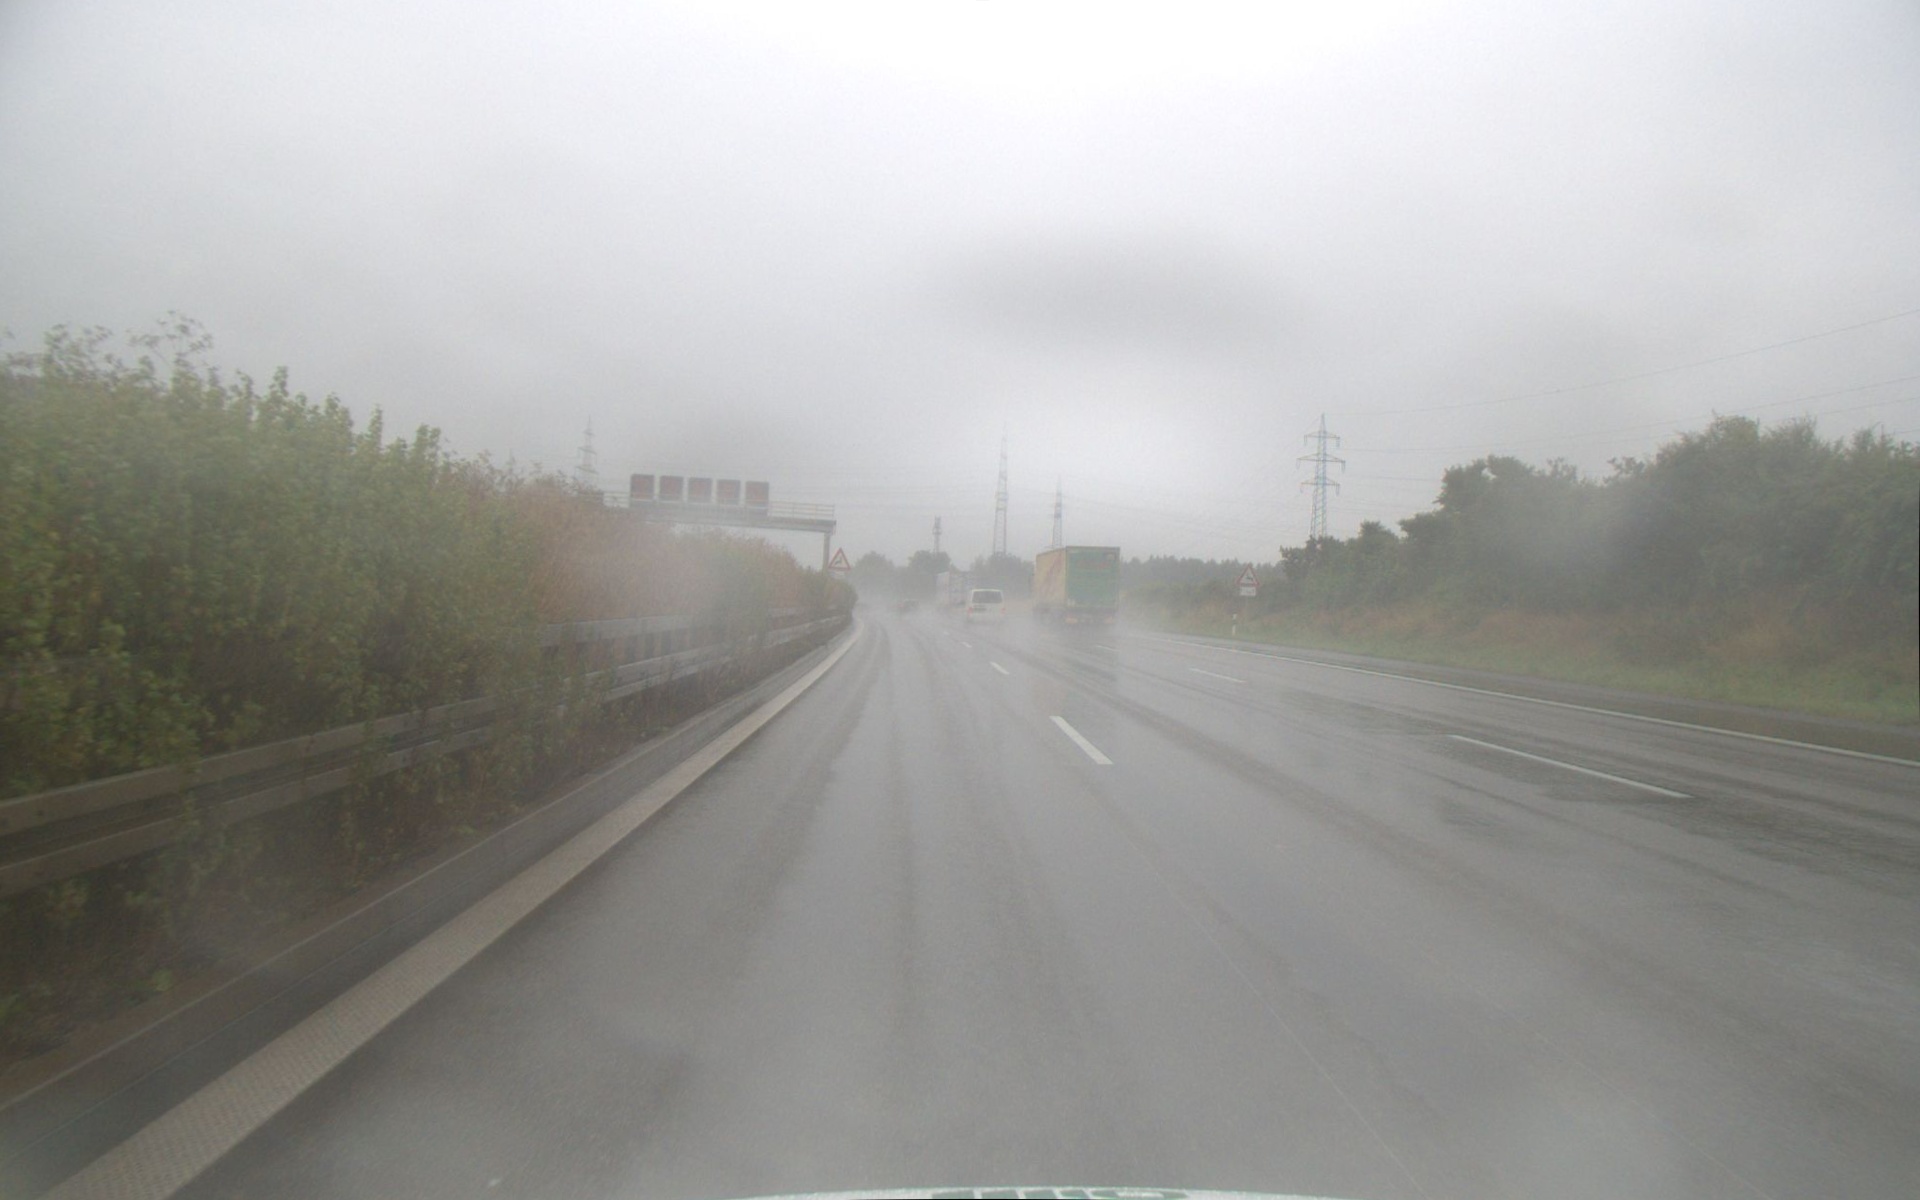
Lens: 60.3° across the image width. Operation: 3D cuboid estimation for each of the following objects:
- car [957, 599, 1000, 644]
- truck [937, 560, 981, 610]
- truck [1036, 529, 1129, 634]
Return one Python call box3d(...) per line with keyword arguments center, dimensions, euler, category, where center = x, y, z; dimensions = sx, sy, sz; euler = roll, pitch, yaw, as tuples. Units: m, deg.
box3d(center=(0.905, 1.000, 79.912), dimensions=(1.952, 2.049, 4.001), euler=(1, 0, 1), category="car")
box3d(center=(-0.106, -1.377, 152.508), dimensions=(3.170, 4.387, 8.826), euler=(1, 0, -6), category="truck")
box3d(center=(5.972, -0.825, 83.661), dimensions=(4.102, 4.711, 16.110), euler=(1, 0, 3), category="truck")
